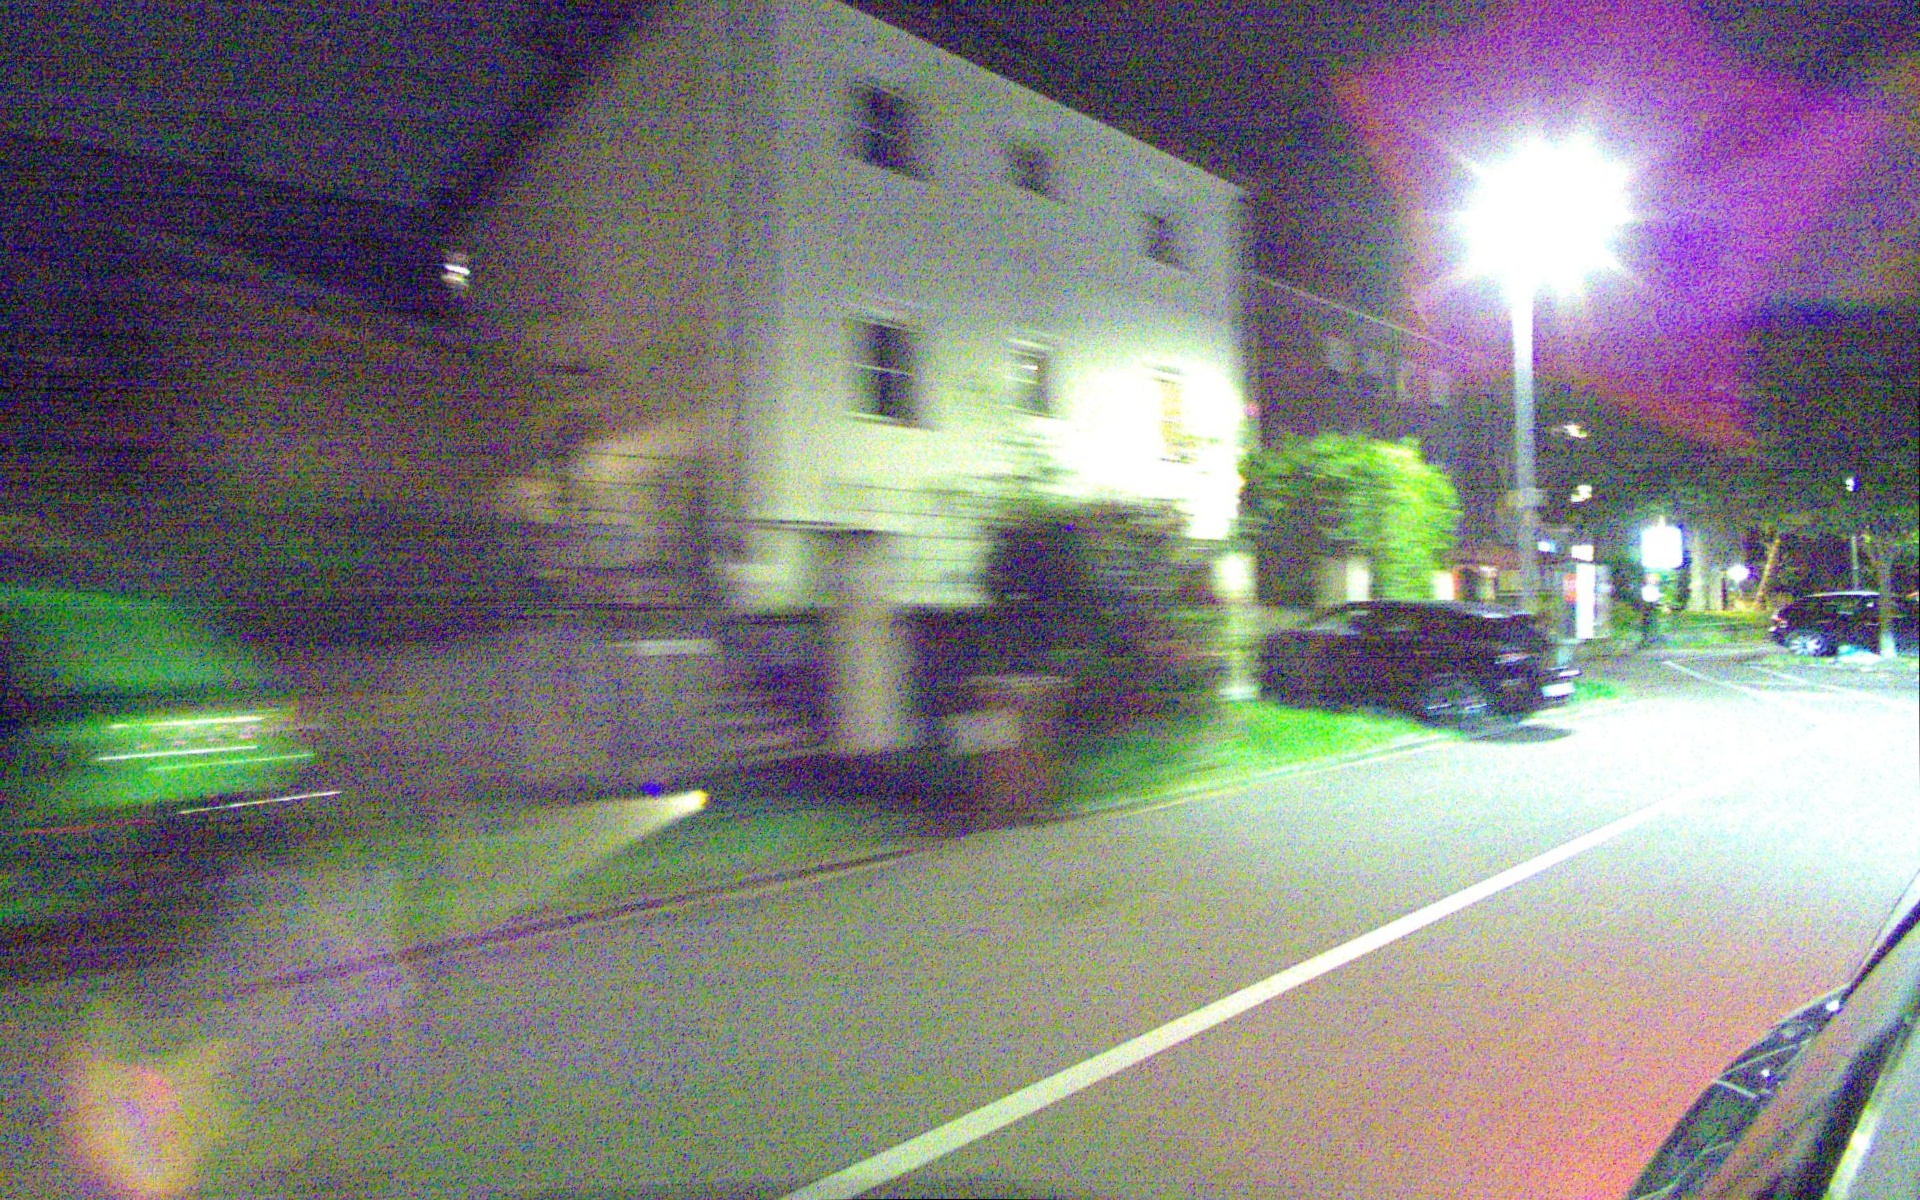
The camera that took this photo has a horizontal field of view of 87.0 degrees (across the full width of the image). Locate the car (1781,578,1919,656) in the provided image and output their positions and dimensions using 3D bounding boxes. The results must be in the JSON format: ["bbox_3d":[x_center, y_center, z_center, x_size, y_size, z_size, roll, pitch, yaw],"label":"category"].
[{"bbox_3d":[23.097,0.402,24.714,1.992,1.839,4.369,0,0,-35],"label":"car"}]

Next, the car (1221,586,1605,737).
[{"bbox_3d":[5.379,0.599,12.396,1.800,1.504,3.911,0,1,-41],"label":"car"}]

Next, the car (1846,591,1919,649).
[{"bbox_3d":[27.117,0.541,27.852,1.823,1.533,3.922,-1,1,-41],"label":"car"}]

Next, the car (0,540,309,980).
[{"bbox_3d":[-4.626,0.575,3.666,3.615,1.580,1.641,0,0,-42],"label":"car"}]

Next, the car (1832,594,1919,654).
[{"bbox_3d":[25.448,0.612,26.426,1.824,1.533,3.919,0,0,-43],"label":"car"}]

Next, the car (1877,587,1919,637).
[{"bbox_3d":[31.404,0.367,31.514,1.950,1.571,3.928,0,0,-36],"label":"car"}]
